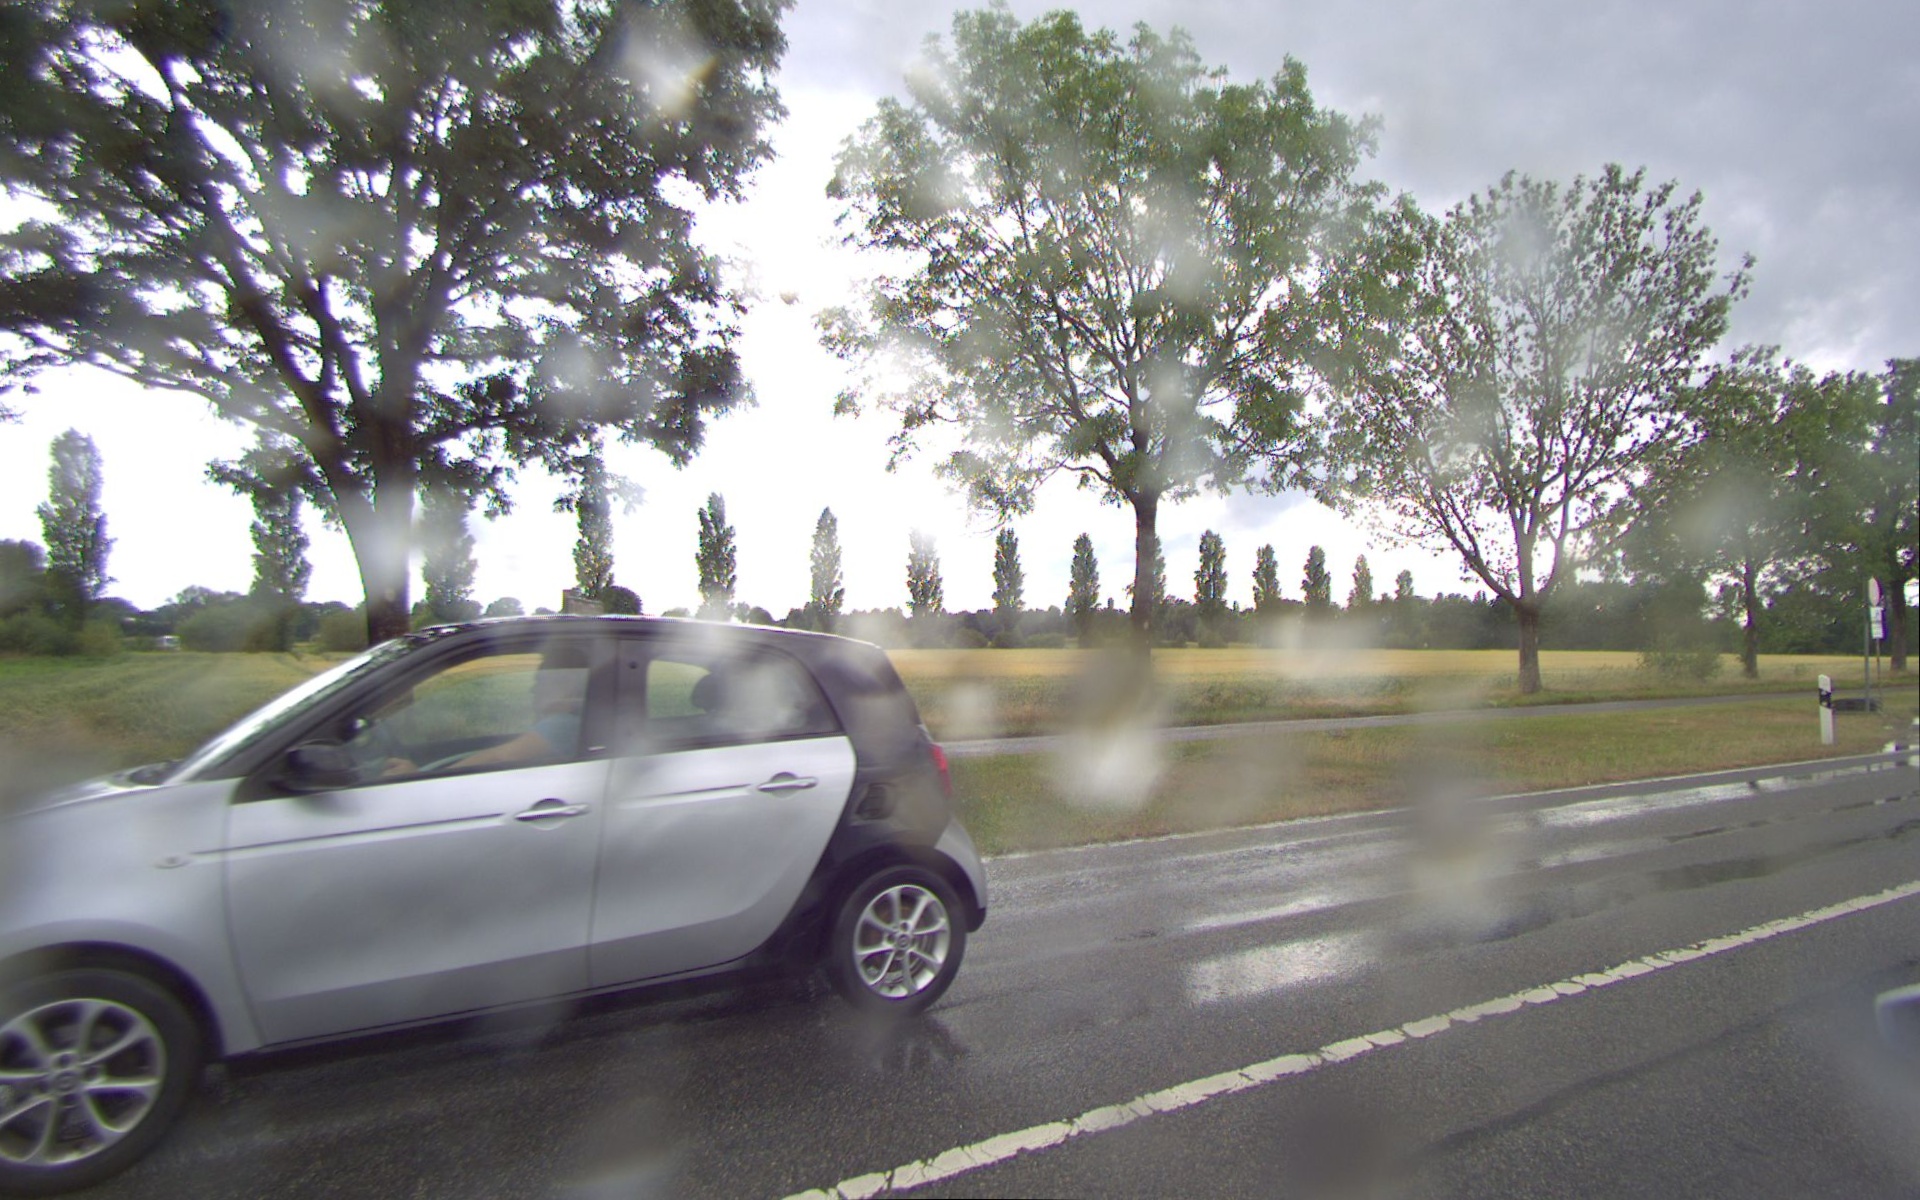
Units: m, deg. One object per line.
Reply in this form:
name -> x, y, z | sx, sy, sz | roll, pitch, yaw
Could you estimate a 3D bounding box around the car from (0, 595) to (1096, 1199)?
car -> -1.432, 0.838, 4.056 | 3.691, 1.517, 1.668 | 2, -4, -31
